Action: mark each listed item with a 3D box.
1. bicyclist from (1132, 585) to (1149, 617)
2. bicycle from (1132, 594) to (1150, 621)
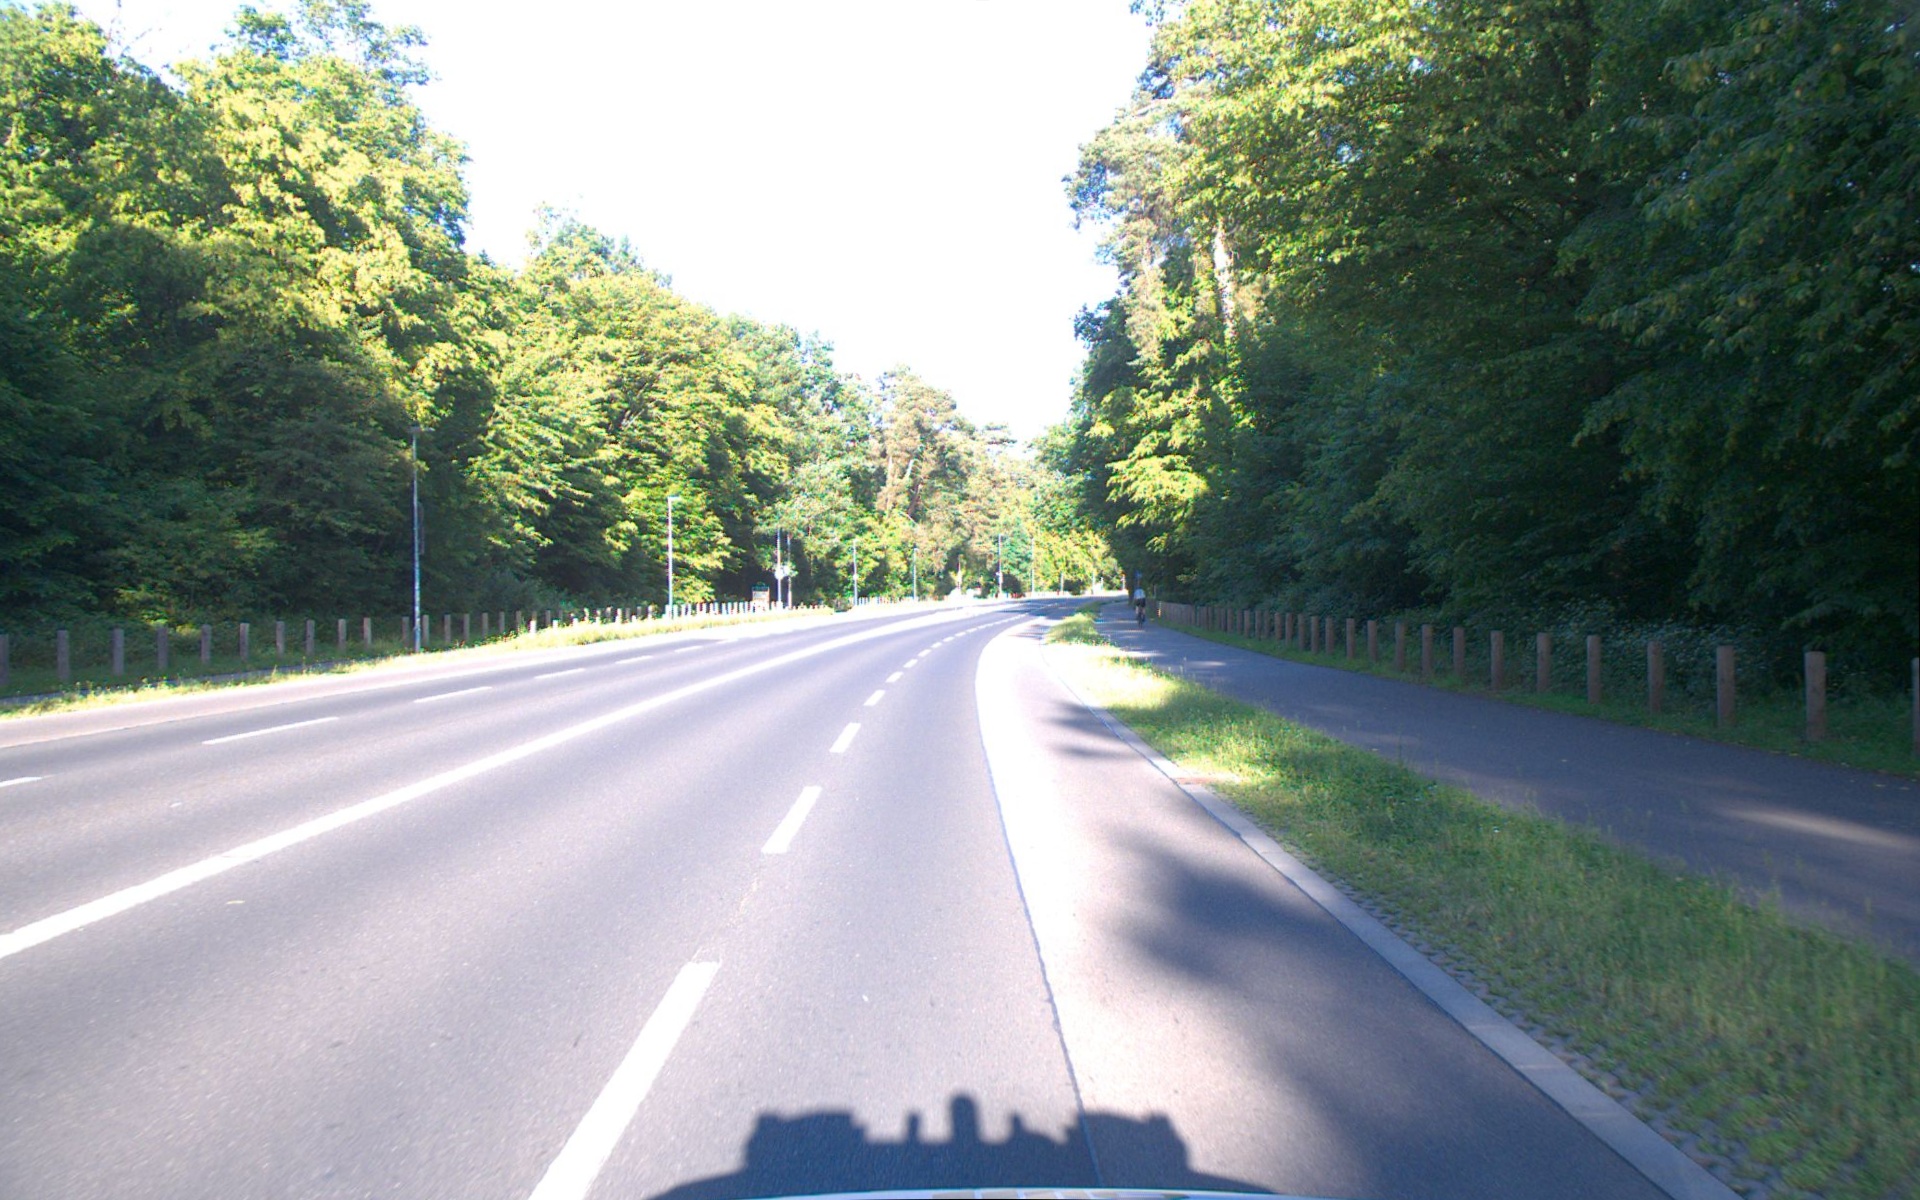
[{"bbox_3d":[7.487,0.045,68.643,0.697,1.311,1.105,0,0,5],"label":"bicyclist"},{"bbox_3d":[7.477,0.295,68.548,0.697,1.074,2.054,0,0,5],"label":"bicycle"}]
